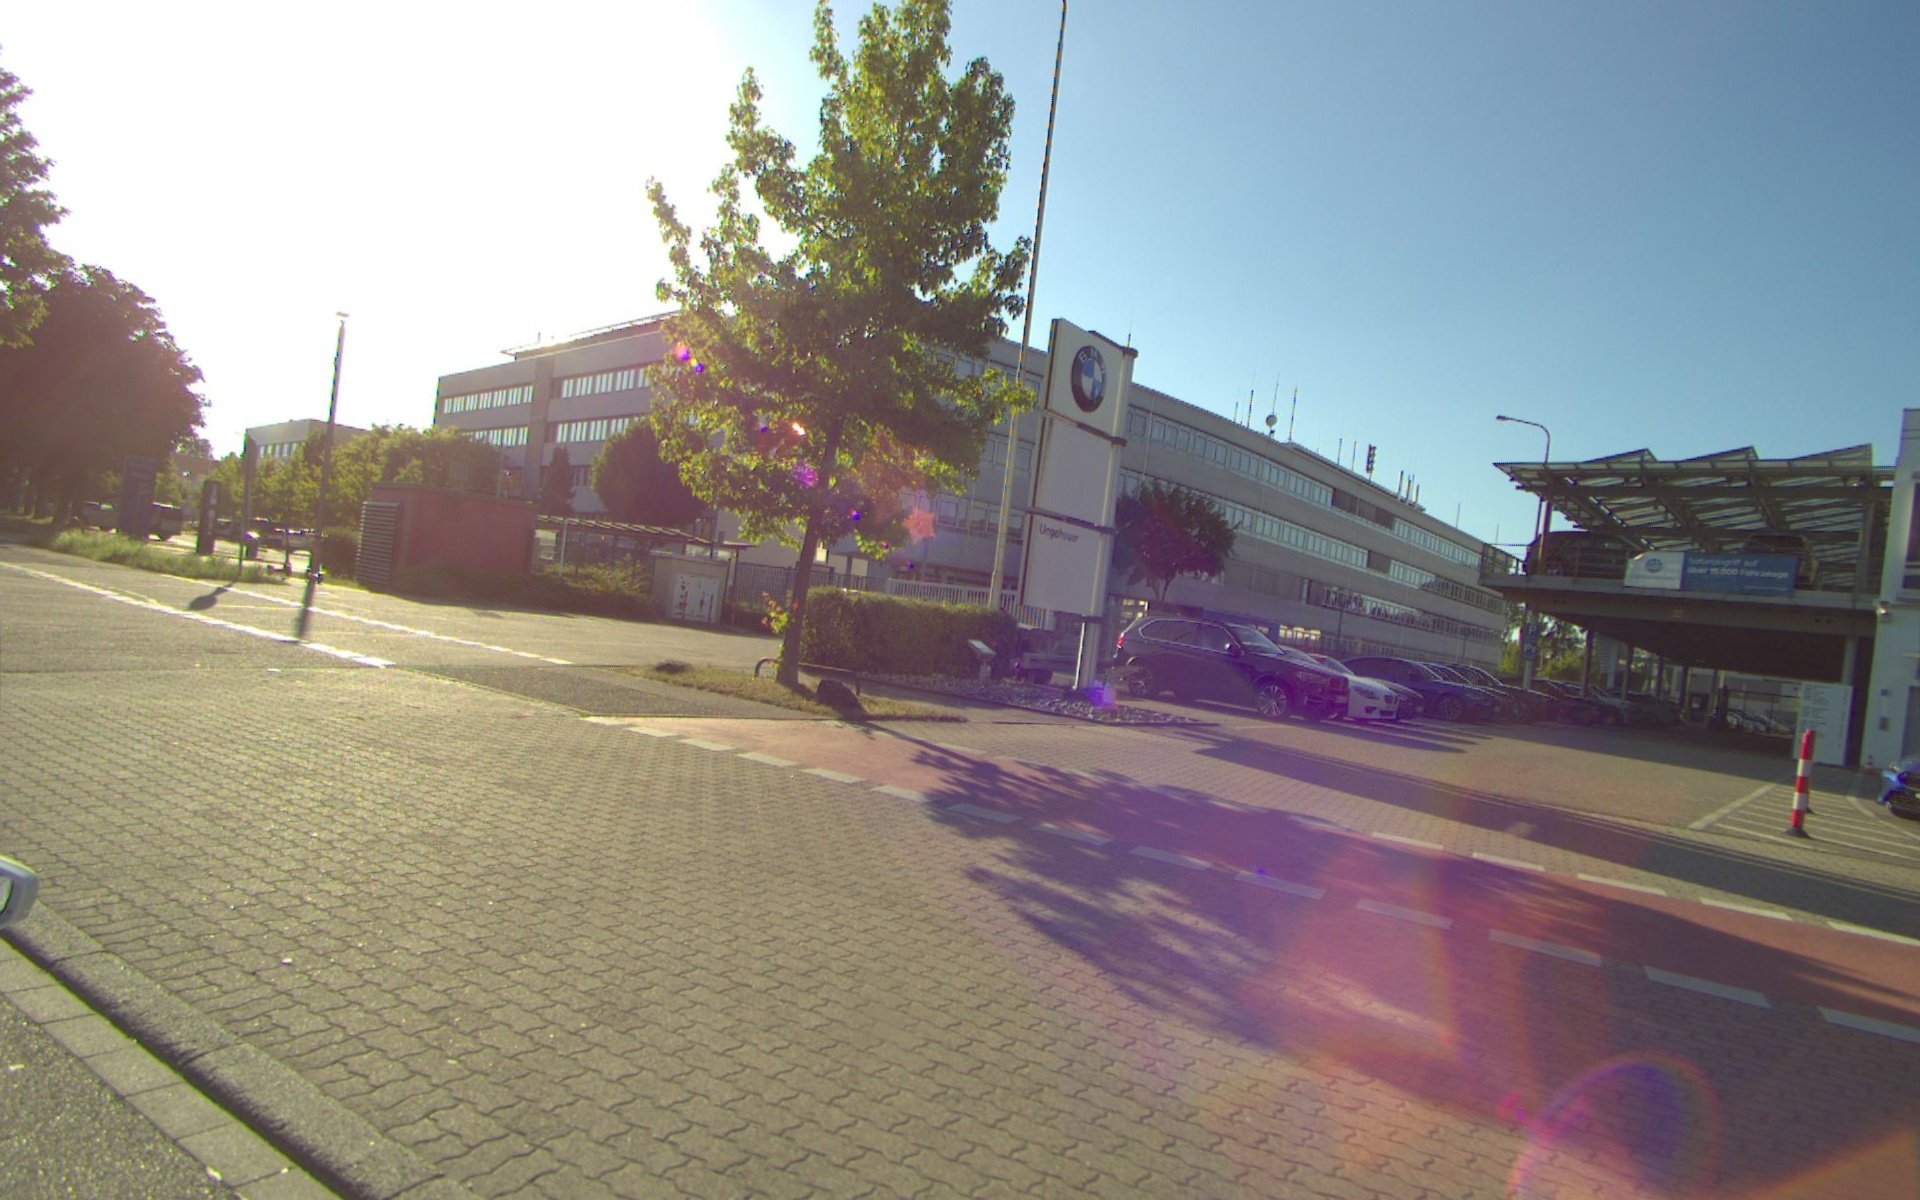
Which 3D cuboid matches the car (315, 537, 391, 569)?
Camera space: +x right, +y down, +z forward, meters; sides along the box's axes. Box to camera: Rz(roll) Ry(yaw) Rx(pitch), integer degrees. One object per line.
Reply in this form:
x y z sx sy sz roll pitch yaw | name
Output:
-34.161 -2.614 56.735 1.774 1.370 4.000 7 -1 0 | car

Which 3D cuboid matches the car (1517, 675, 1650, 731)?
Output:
26.791 4.404 43.287 4.495 1.694 2.029 7 0 40 | car

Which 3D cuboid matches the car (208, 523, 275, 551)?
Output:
-53.831 -4.695 75.436 1.734 1.546 4.305 7 -1 1 | car

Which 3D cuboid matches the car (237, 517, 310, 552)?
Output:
-46.387 -4.389 68.075 1.735 1.771 4.495 7 -1 -1 | car

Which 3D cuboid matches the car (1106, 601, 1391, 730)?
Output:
5.546 1.231 19.858 2.026 1.850 4.913 7 0 -45 | car

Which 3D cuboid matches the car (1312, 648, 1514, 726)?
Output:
12.286 2.347 27.456 2.026 1.449 4.502 7 -1 -45 | car

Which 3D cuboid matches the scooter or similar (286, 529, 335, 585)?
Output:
-16.309 -1.082 25.270 1.181 1.287 0.520 7 0 35 | scooter or similar

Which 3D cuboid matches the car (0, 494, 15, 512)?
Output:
-106.223 -10.948 109.677 2.031 1.724 4.427 7 -3 42 | car

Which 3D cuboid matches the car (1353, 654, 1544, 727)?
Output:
14.227 2.615 29.466 2.026 1.449 4.502 7 -1 -45 | car

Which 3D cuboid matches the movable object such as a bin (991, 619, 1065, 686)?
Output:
1.474 1.128 21.714 1.022 1.283 1.117 7 0 36 | movable object such as a bin

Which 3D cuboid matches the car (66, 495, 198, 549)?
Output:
-42.905 -4.019 52.231 4.866 1.957 1.999 8 0 -3 | car

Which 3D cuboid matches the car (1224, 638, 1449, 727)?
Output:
8.892 1.931 24.047 2.026 1.449 4.502 7 -1 -45 | car

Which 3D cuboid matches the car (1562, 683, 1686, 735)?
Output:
30.846 5.018 46.790 4.495 1.694 2.029 7 0 40 | car

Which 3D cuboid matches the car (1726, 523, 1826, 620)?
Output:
24.267 -0.802 29.868 1.972 2.125 4.187 7 -3 41 | car

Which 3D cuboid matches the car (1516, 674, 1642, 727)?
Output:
28.032 4.519 45.657 4.495 1.694 2.029 7 0 40 | car

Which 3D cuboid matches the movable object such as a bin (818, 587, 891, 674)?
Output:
-1.953 0.547 18.605 0.839 1.433 1.030 9 -1 -28 | movable object such as a bin

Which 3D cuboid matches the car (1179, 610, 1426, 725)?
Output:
7.311 1.414 21.789 2.026 1.850 4.502 7 0 -45 | car

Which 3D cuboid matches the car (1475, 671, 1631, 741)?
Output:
21.520 3.807 36.609 4.495 1.811 2.029 7 0 40 | car

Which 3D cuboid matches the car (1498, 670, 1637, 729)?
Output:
24.747 4.042 41.067 4.495 1.694 2.029 7 0 40 | car

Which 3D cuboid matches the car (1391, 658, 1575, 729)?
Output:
15.994 2.848 30.914 2.026 1.473 4.502 7 -1 -45 | car

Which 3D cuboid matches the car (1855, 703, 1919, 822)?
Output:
15.029 2.468 13.826 4.721 1.482 1.991 7 0 -20 | car

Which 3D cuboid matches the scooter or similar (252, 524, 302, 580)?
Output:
-17.533 -1.230 25.820 1.365 1.288 0.520 7 0 35 | scooter or similar

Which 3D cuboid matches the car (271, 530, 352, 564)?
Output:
-39.178 -3.180 60.908 1.773 1.547 4.315 7 -1 4 | car

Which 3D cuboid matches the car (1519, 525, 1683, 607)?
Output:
21.141 -1.150 33.235 4.142 2.125 1.993 7 -2 41 | car
